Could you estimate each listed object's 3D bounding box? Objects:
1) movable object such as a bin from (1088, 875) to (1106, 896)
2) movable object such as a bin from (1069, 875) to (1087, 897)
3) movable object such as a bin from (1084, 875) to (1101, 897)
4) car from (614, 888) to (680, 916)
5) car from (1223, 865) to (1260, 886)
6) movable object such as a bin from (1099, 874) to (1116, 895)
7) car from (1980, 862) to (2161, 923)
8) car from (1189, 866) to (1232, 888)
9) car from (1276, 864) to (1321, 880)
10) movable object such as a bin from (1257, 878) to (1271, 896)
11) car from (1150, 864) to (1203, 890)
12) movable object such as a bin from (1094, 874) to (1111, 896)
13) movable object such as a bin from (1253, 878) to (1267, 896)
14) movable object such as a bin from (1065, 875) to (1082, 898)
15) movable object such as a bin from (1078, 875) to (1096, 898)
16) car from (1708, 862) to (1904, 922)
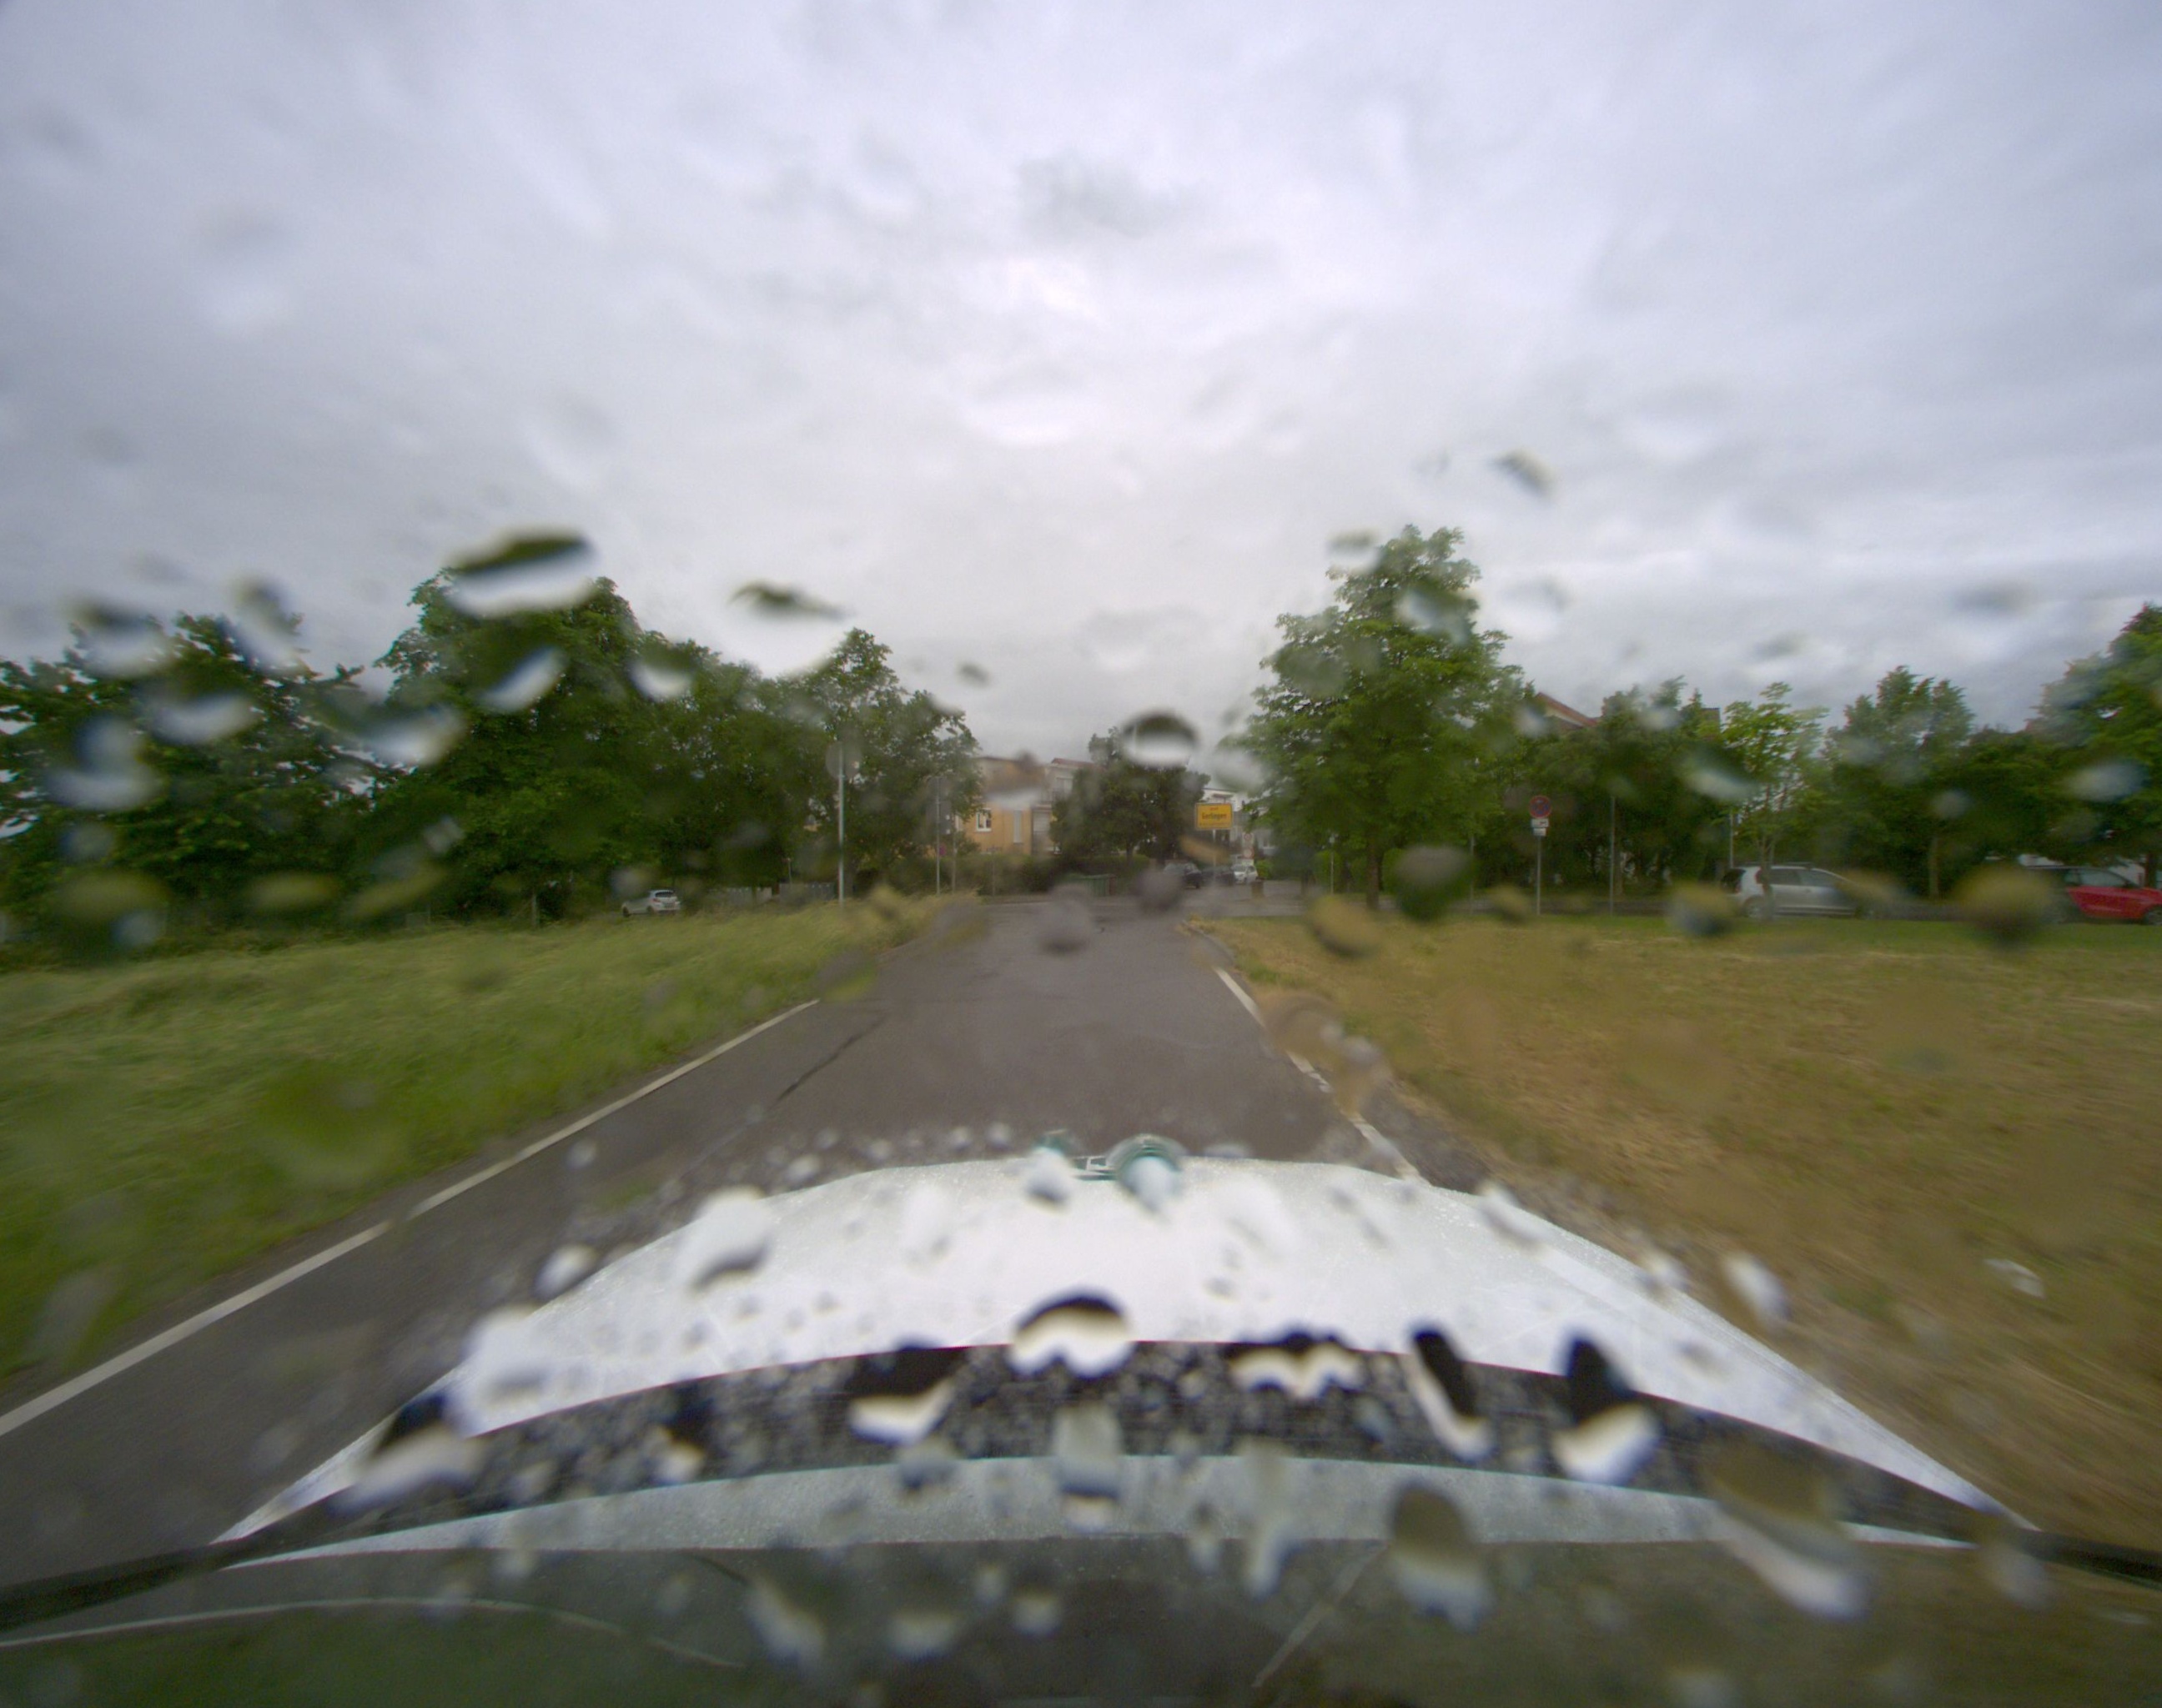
[{"bbox_3d":[0.809,1.588,41.069,0.688,1.067,0.582,-1,-1,22],"label":"movable object such as a bin"},{"bbox_3d":[-0.132,1.603,40.730,0.688,1.072,0.601,-1,-1,22],"label":"movable object such as a bin"},{"bbox_3d":[0.562,1.589,40.522,0.688,1.075,0.546,-1,-1,22],"label":"movable object such as a bin"},{"bbox_3d":[-24.738,2.739,46.436,3.678,1.503,1.621,-4,-3,30],"label":"car"},{"bbox_3d":[11.937,1.584,60.441,1.496,1.476,3.294,2,0,33],"label":"car"},{"bbox_3d":[1.402,1.580,42.373,0.688,1.055,0.608,-1,-1,22],"label":"movable object such as a bin"},{"bbox_3d":[24.748,0.922,20.147,2.977,1.436,1.561,0,-1,19],"label":"car"},{"bbox_3d":[8.950,1.544,56.080,1.619,1.409,3.627,2,0,32],"label":"car"},{"bbox_3d":[21.508,1.772,80.633,3.950,1.568,1.920,0,-1,26],"label":"car"},{"bbox_3d":[9.838,1.782,43.757,0.565,0.931,0.533,0,-1,35],"label":"movable object such as a bin"},{"bbox_3d":[6.051,1.413,51.101,1.758,1.518,4.163,2,0,30],"label":"car"},{"bbox_3d":[1.116,1.582,41.618,0.688,1.055,0.608,-1,-1,22],"label":"movable object such as a bin"},{"bbox_3d":[9.507,1.773,43.281,0.565,0.931,0.533,0,-1,35],"label":"movable object such as a bin"},{"bbox_3d":[-0.388,1.598,40.168,0.659,1.073,0.546,-1,-1,23],"label":"movable object such as a bin"},{"bbox_3d":[0.317,1.588,39.946,0.688,1.075,0.605,-1,-1,22],"label":"movable object such as a bin"},{"bbox_3d":[19.214,0.997,21.765,3.513,1.479,1.688,-1,-2,19],"label":"car"}]
